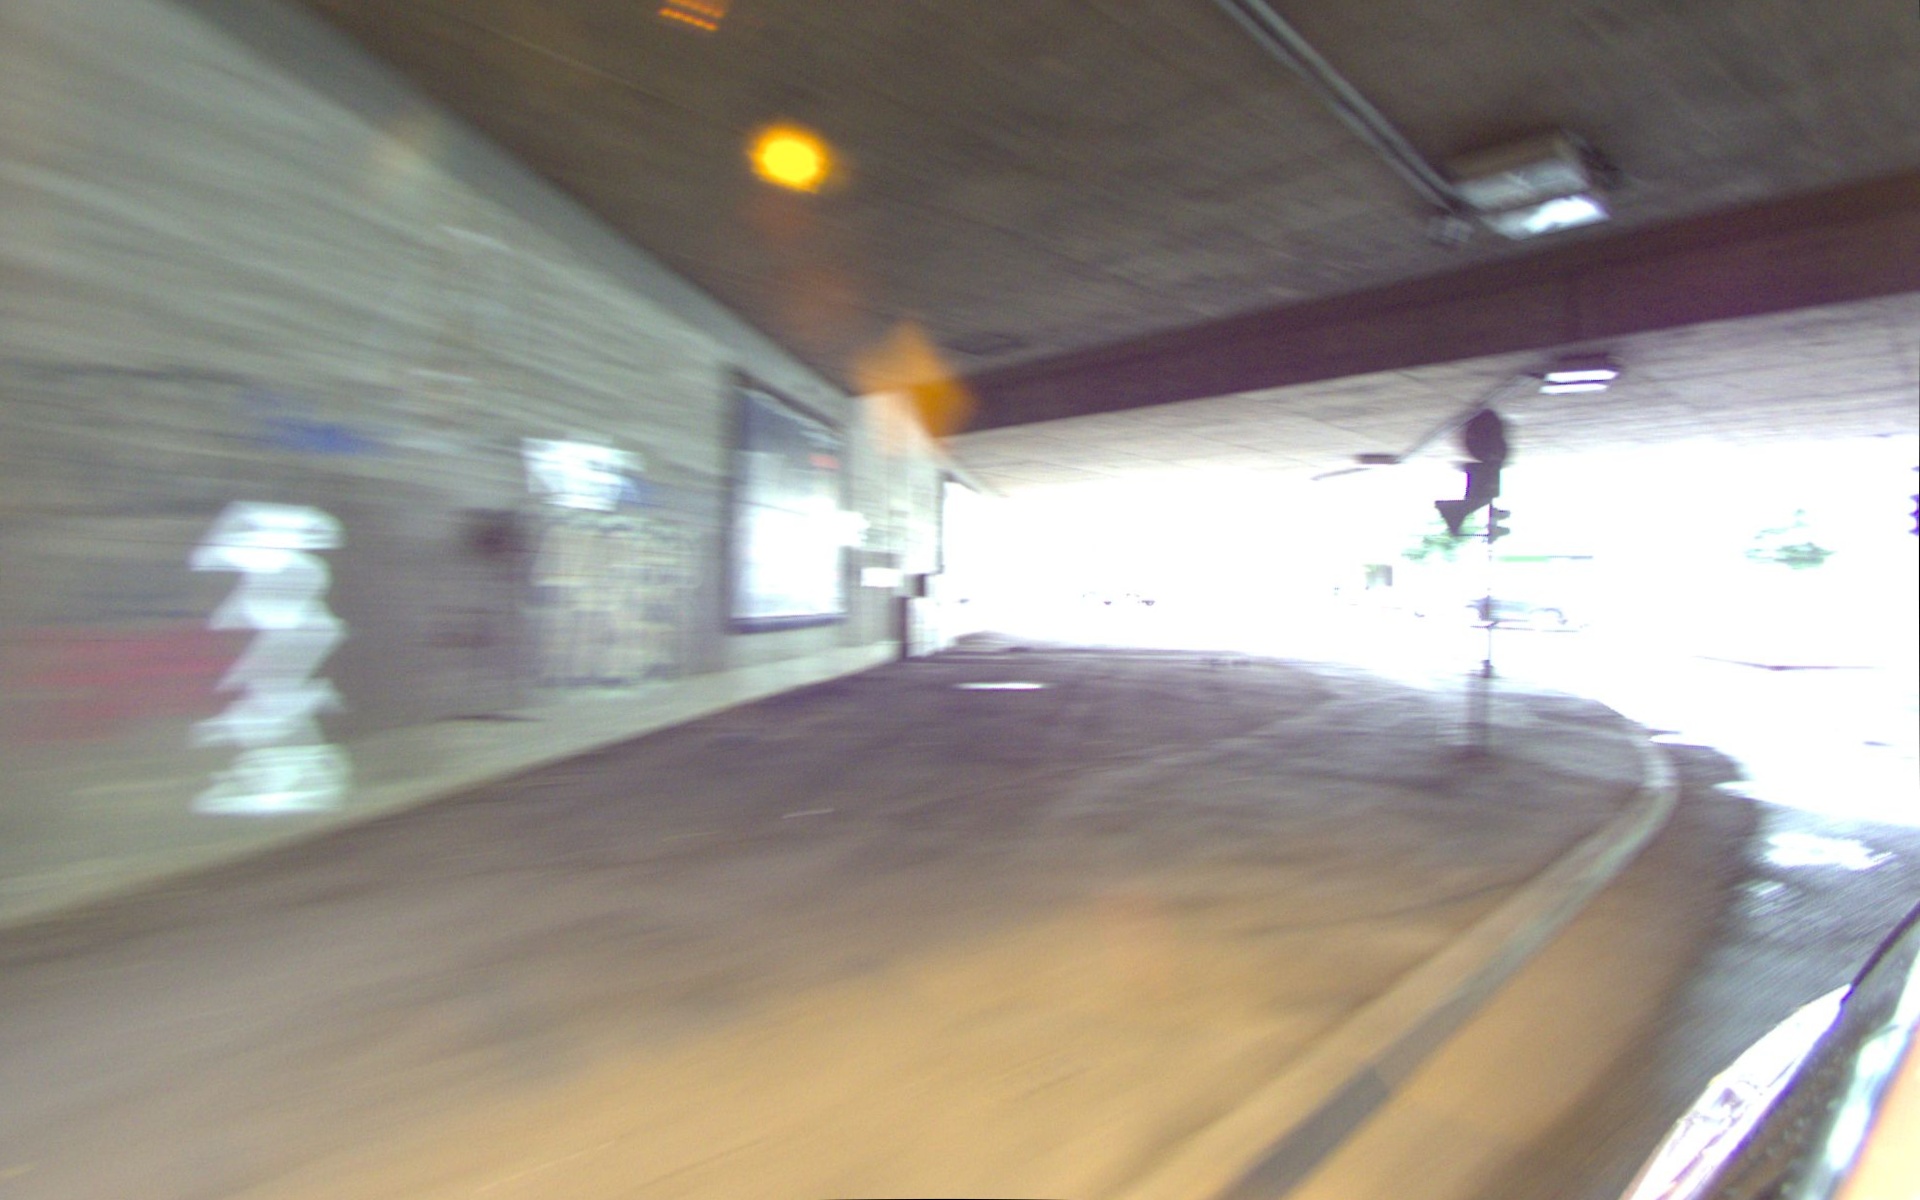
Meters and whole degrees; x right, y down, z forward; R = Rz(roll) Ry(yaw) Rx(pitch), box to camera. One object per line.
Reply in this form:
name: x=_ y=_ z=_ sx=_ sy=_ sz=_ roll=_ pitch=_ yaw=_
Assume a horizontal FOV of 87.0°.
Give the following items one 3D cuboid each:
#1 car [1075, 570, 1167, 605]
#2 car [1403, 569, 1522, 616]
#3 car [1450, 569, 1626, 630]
car: x=7.603 y=-0.590 z=47.991 sx=3.971 sy=1.476 sz=1.626 roll=3 pitch=0 yaw=33
car: x=18.491 y=-0.290 z=37.330 sx=3.616 sy=1.577 sz=1.620 roll=3 pitch=1 yaw=43
car: x=16.887 y=-0.075 z=29.789 sx=1.734 sy=1.599 sz=4.242 roll=-2 pitch=3 yaw=-27
